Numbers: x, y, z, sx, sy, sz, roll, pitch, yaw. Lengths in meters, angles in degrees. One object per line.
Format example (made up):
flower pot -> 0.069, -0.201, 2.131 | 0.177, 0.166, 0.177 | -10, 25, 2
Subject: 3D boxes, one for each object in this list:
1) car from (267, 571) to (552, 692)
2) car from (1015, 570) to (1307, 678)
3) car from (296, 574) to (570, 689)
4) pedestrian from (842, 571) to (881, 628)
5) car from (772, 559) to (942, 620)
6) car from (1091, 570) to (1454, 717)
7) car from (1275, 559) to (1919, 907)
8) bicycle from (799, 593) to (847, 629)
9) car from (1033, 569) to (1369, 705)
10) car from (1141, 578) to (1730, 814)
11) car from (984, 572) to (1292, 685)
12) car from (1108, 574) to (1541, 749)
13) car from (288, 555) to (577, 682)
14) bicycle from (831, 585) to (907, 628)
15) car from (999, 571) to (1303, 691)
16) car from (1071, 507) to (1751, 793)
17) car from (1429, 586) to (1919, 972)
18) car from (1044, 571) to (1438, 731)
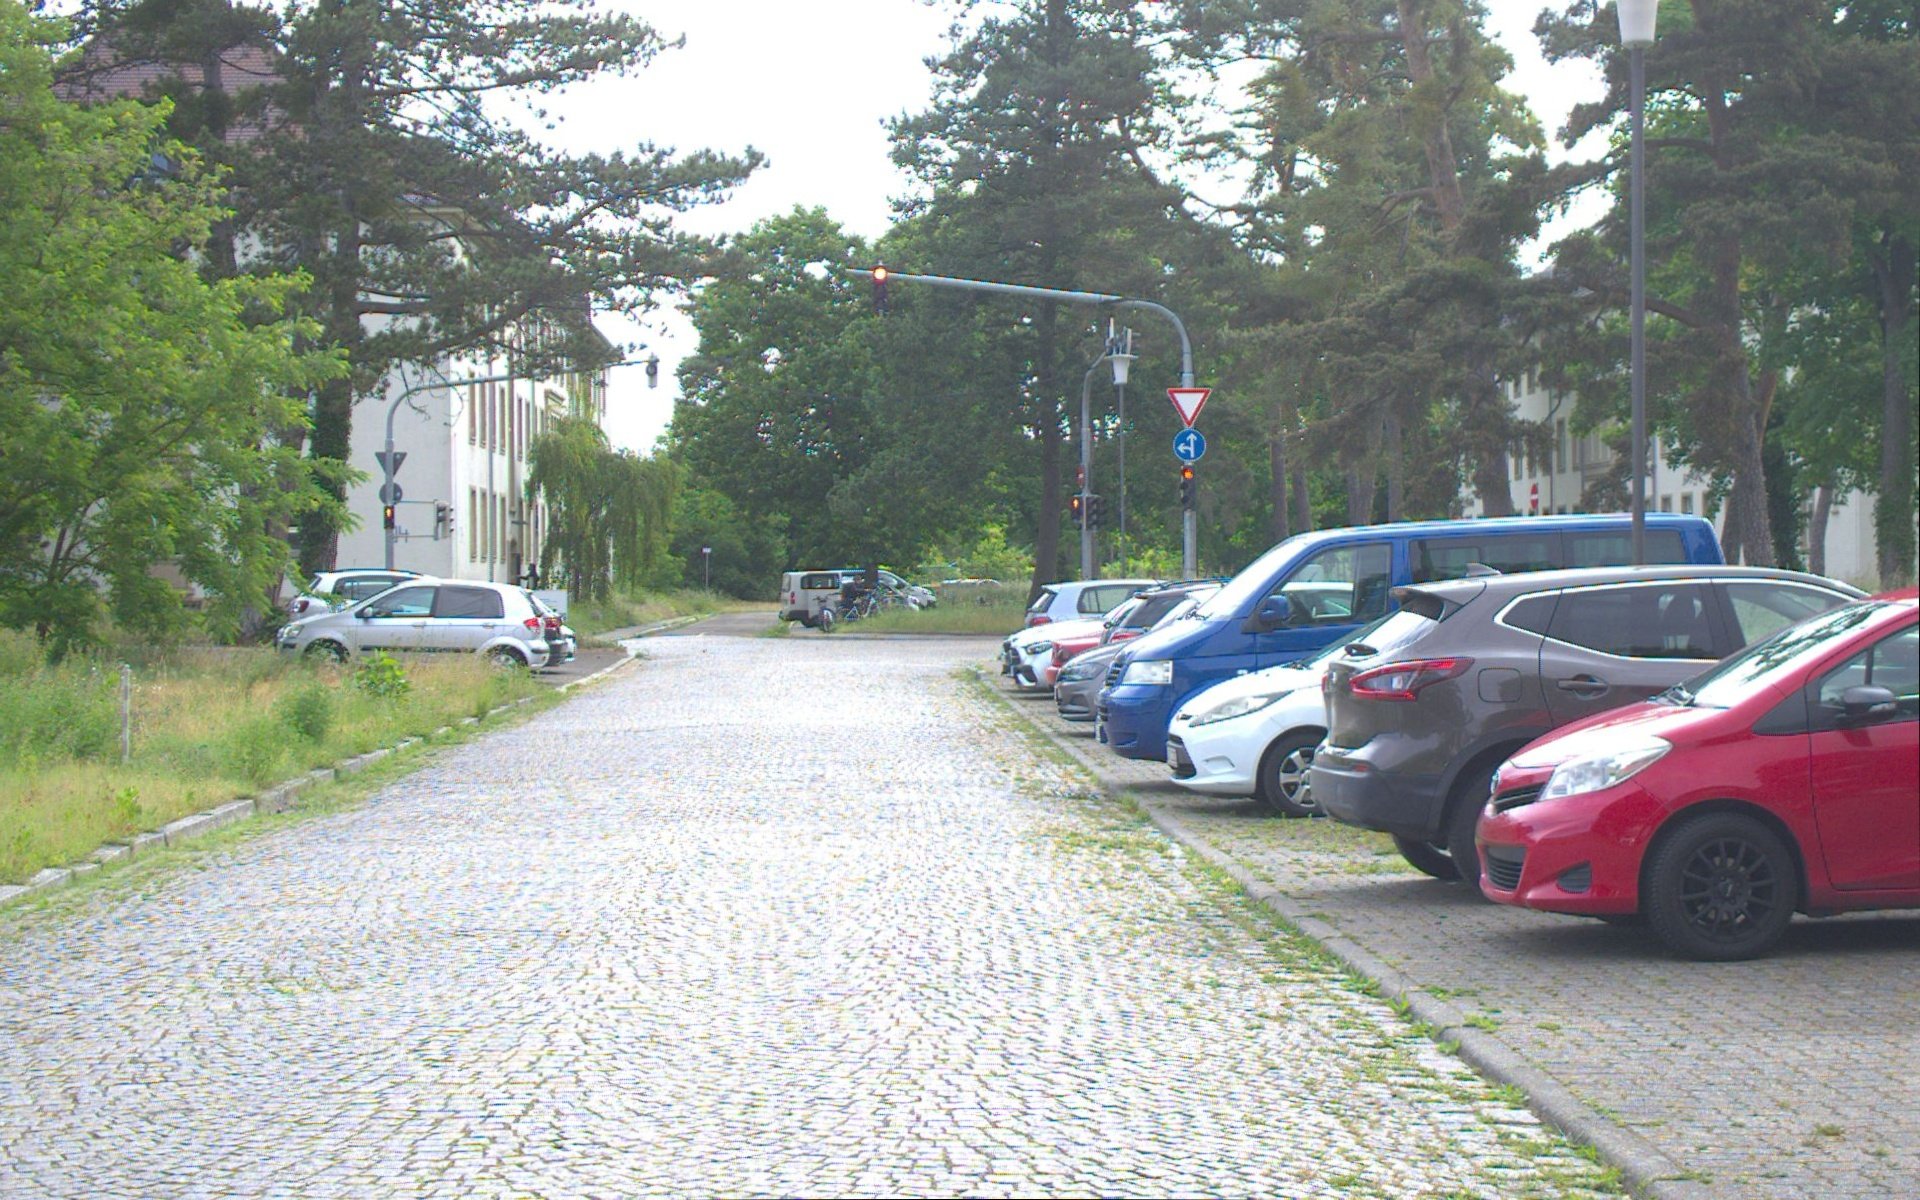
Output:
car -> -7.709, 0.437, 48.391 | 3.821, 1.567, 1.564 | -2, 0, -5
car -> 2.884, 0.337, 49.761 | 3.967, 1.416, 1.620 | -2, 0, -6
car -> -7.756, 0.459, 50.808 | 3.821, 1.567, 1.564 | -2, 0, -2
pedestrian -> -2.830, -0.021, 98.894 | 1.033, 1.608, 0.757 | 0, 0, -6
car -> -3.511, -0.345, 116.449 | 5.444, 2.007, 2.269 | 0, 0, -11
car -> 3.332, 0.454, 37.019 | 3.671, 1.444, 1.524 | -2, 0, -4
car -> 3.716, 0.599, 17.005 | 4.028, 1.547, 1.751 | -2, 0, -4
bicycle -> -3.773, 0.300, 94.454 | 0.620, 0.942, 1.663 | 0, 0, -30
car -> 2.752, 0.416, 39.709 | 3.671, 1.444, 1.524 | -2, 0, -4
car -> 3.177, 0.623, 23.370 | 3.671, 1.444, 1.615 | -2, 0, -4
car -> 2.411, 0.376, 47.096 | 3.967, 1.416, 1.620 | -2, 0, -6
car -> 3.268, 0.542, 31.247 | 3.671, 1.444, 1.524 | -2, 0, -4
car -> -8.217, 0.279, 53.783 | 4.262, 1.834, 1.744 | -2, 0, -2
bicycle -> -2.618, 0.187, 98.558 | 2.136, 1.210, 0.622 | 0, 0, -6
car -> 2.431, 0.391, 44.240 | 3.671, 1.416, 1.524 | -2, 0, -6
car -> 3.325, 0.353, 25.967 | 4.753, 1.948, 1.931 | -2, 0, -4
car -> 4.015, 0.675, 14.379 | 3.792, 1.455, 1.751 | -2, 0, -2
car -> 2.742, 0.493, 34.012 | 3.671, 1.444, 1.524 | -2, 0, -4
